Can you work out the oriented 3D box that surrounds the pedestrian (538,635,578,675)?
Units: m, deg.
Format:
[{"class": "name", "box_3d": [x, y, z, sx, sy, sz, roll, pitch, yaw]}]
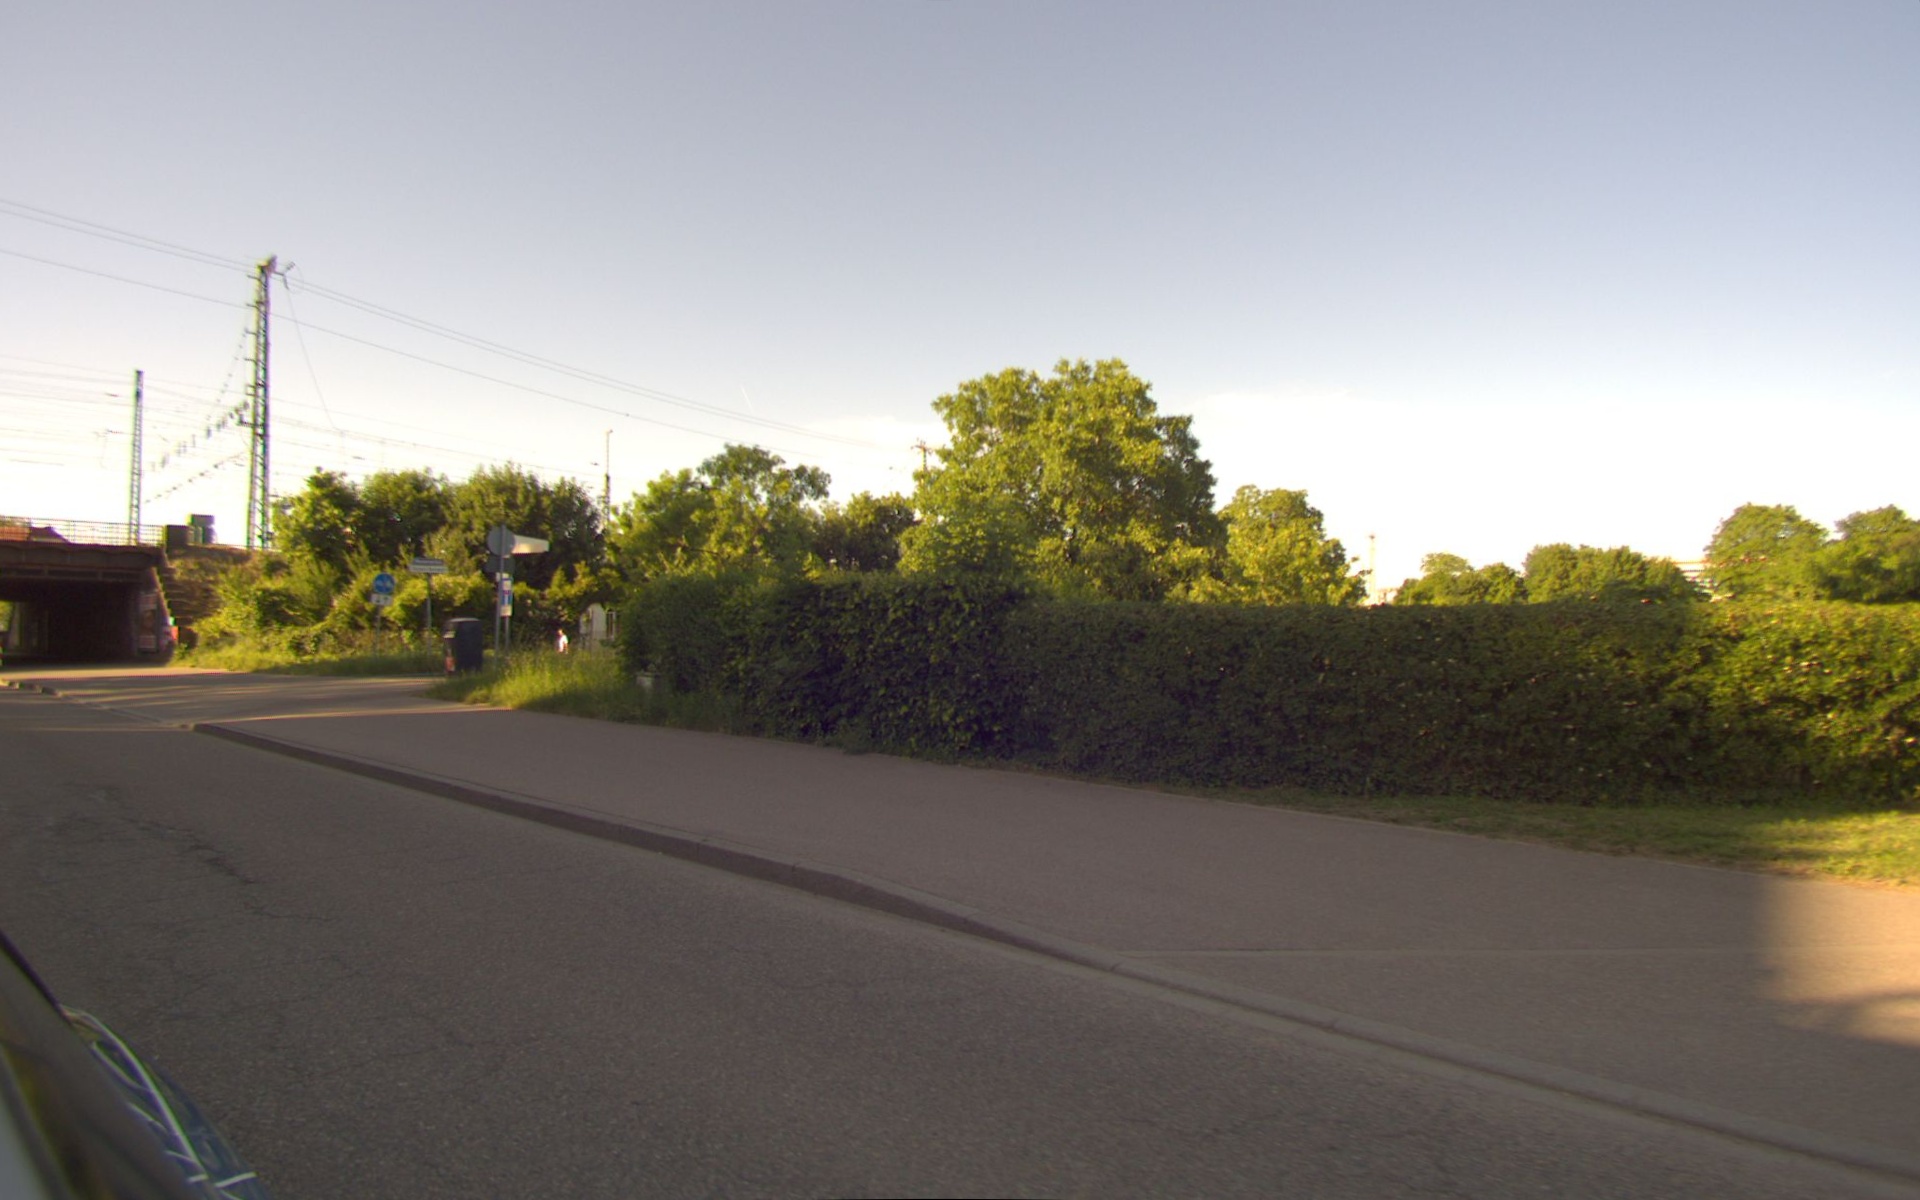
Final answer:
[{"class": "pedestrian", "box_3d": [-14.784, 2.025, 37.217, 0.811, 1.415, 1.009, 1, -3, 32]}]
